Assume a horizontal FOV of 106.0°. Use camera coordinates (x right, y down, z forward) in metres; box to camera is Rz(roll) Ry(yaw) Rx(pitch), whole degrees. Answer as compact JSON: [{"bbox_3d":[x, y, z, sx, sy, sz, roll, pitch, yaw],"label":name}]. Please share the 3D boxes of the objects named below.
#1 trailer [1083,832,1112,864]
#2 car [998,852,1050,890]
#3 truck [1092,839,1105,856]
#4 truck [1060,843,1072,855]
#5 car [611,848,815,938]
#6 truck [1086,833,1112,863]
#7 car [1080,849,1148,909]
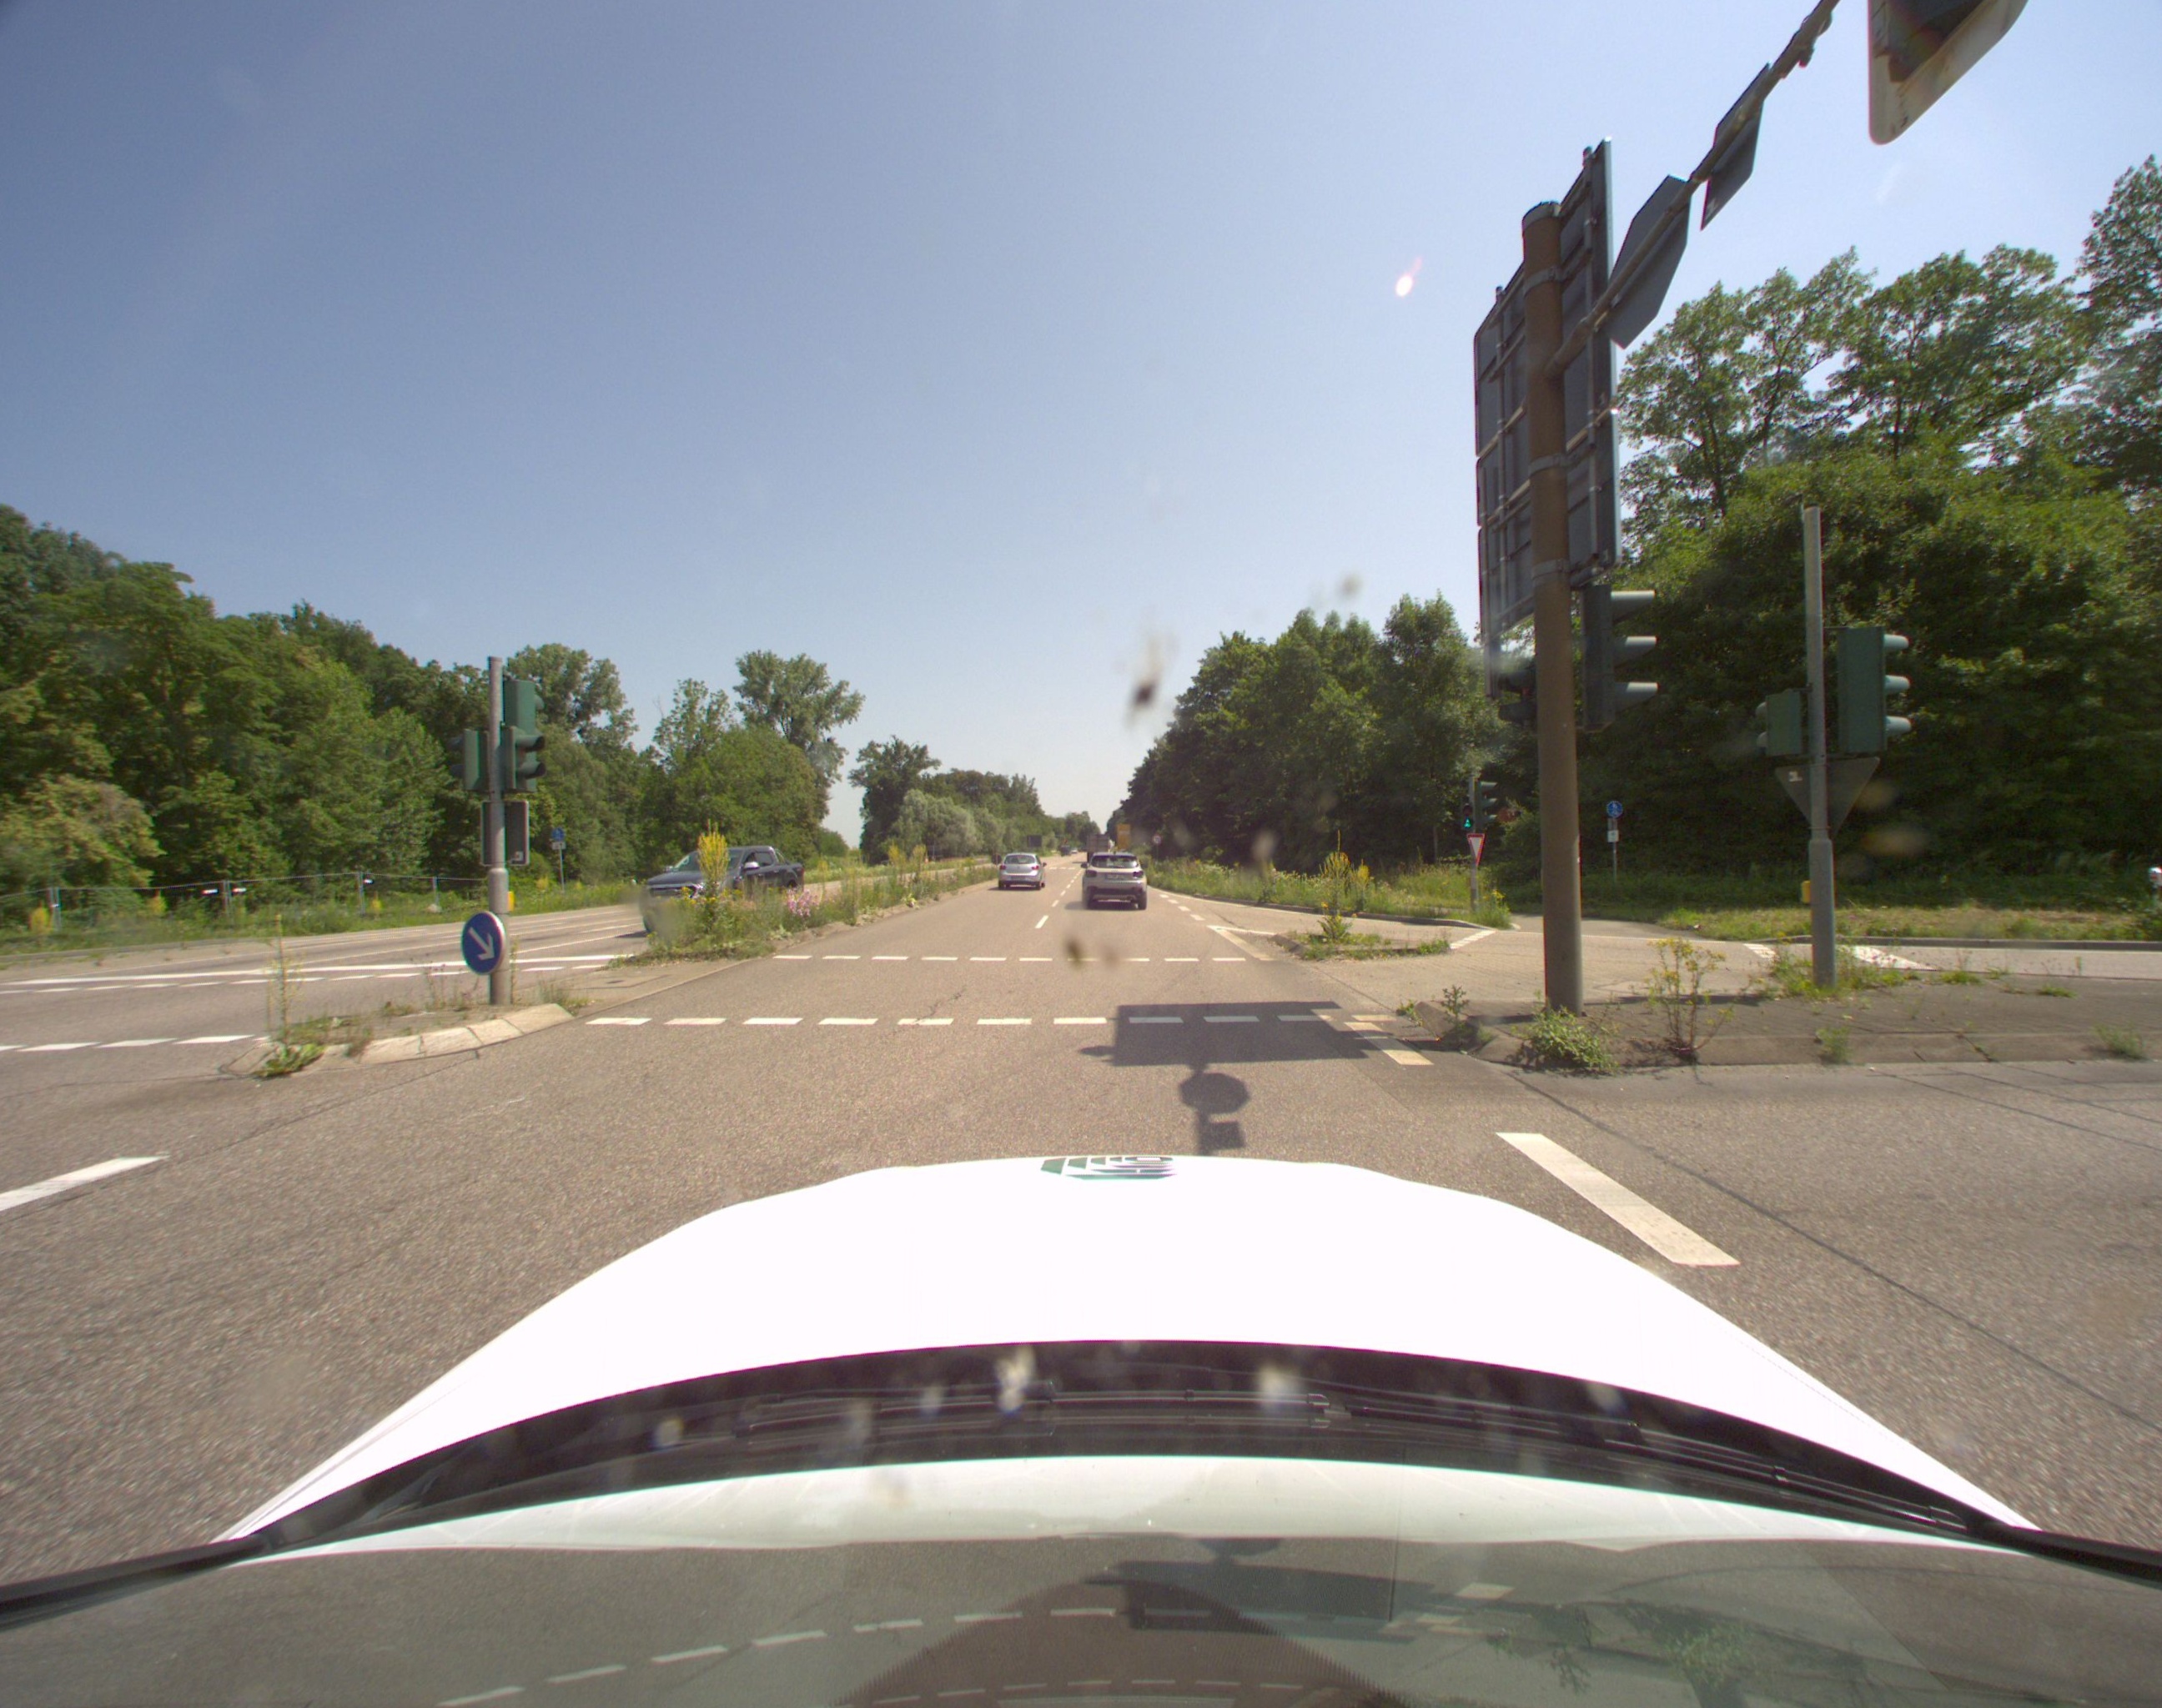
[{"bbox_3d":[2.217,-0.773,106.890,3.368,3.988,10.813,0,0,3],"label":"trailer"},{"bbox_3d":[-2.226,0.646,32.807,1.659,1.429,3.831,0,1,2],"label":"car"},{"bbox_3d":[4.692,-1.710,216.642,3.485,4.187,10.786,0,0,1],"label":"truck"},{"bbox_3d":[-3.568,-1.311,198.617,2.445,2.656,6.495,-4,1,2],"label":"truck"},{"bbox_3d":[-8.172,0.755,18.796,1.985,1.677,5.369,-3,0,3],"label":"car"},{"bbox_3d":[2.523,-0.834,111.821,3.319,3.988,6.538,0,0,3],"label":"truck"},{"bbox_3d":[0.964,0.654,23.354,1.760,1.535,4.003,-1,0,2],"label":"car"}]
